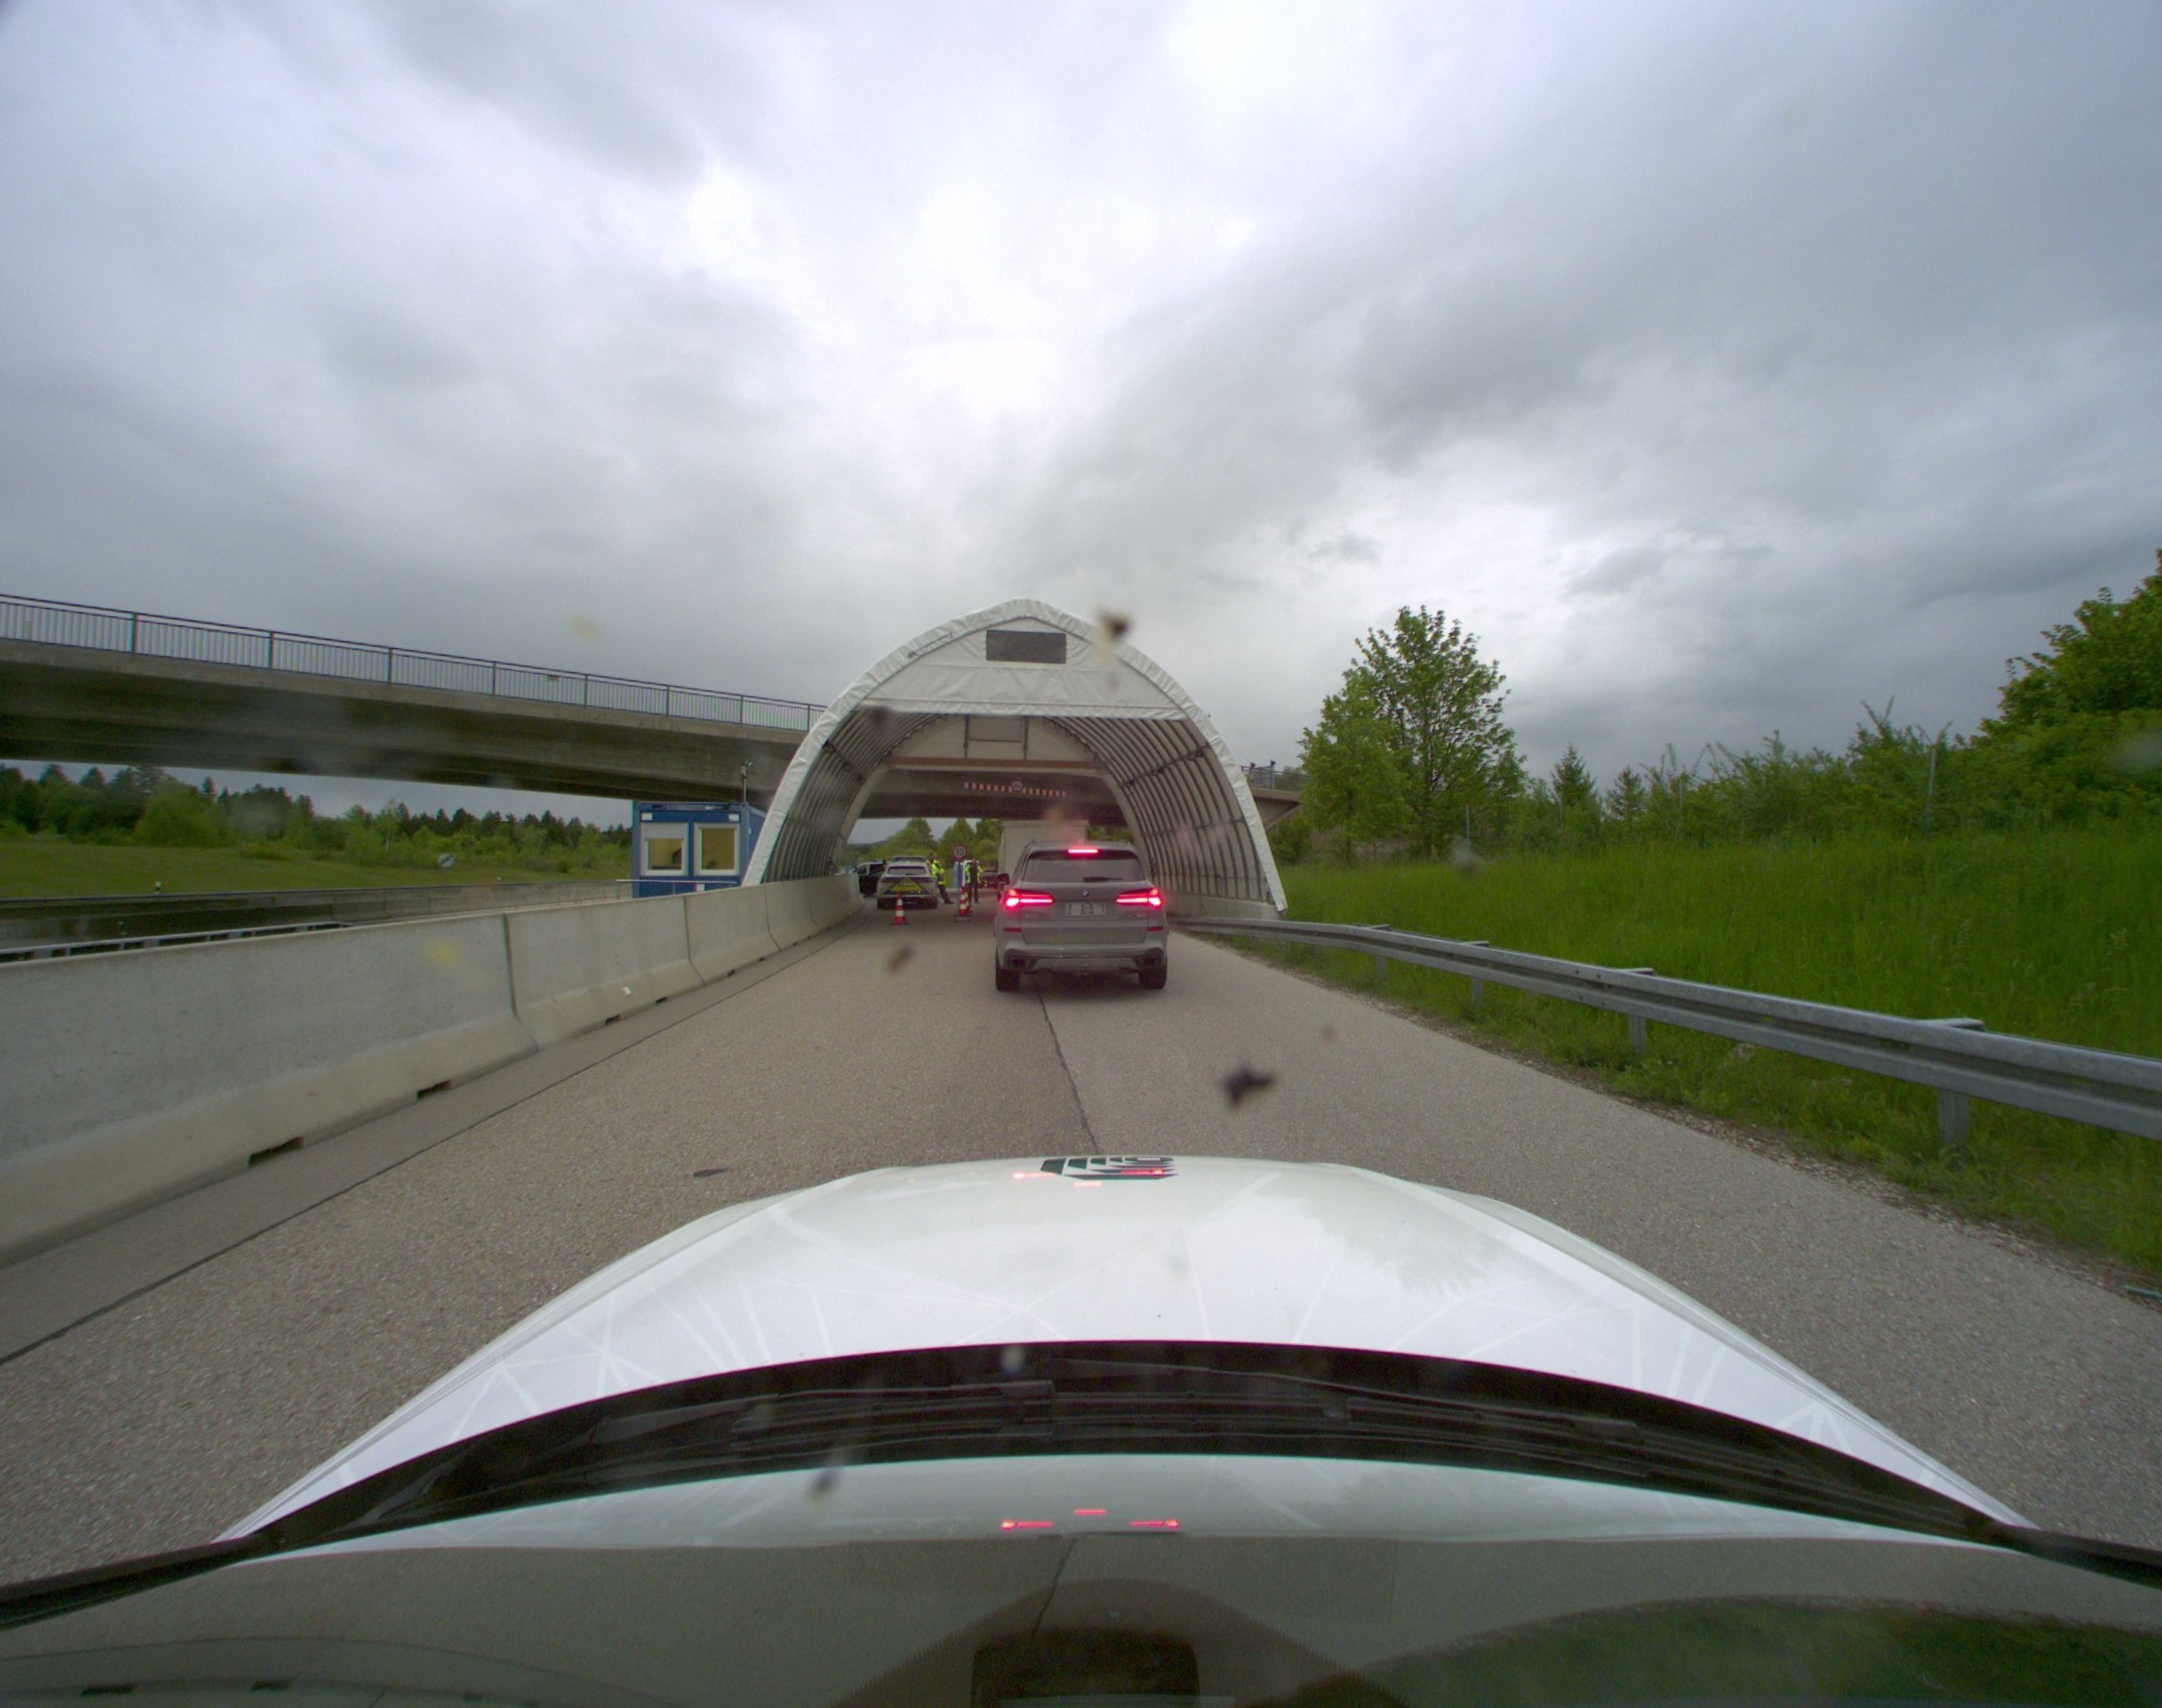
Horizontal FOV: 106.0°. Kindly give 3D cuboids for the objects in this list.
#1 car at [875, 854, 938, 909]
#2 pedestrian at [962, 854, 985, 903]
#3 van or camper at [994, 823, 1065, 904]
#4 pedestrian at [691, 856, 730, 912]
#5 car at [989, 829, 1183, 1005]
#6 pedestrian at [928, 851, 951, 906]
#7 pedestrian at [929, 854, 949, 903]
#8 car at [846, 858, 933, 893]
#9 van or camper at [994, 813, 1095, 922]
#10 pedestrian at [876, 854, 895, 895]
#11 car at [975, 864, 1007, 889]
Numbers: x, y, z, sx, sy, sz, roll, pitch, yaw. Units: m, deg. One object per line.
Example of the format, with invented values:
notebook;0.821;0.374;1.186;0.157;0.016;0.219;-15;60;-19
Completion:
car;-5.783;0.881;27.051;1.879;1.647;3.983;-1;-1;-12
pedestrian;-3.933;0.888;29.863;0.780;1.722;0.754;-1;-1;-10
van or camper;-1.914;0.332;28.595;2.102;2.519;5.536;-1;-1;-7
pedestrian;-9.251;0.739;20.327;0.606;1.373;0.629;-2;-1;10
car;-0.156;0.673;10.498;1.992;1.765;3.990;-1;-1;-7
pedestrian;-5.087;0.876;29.222;0.750;1.919;0.759;-1;-1;-13
pedestrian;-5.268;0.904;30.190;0.607;1.754;0.665;-1;-1;-4
car;-11.582;1.302;49.385;4.777;2.014;1.845;-1;-1;9
van or camper;-1.208;0.356;22.667;2.228;2.552;6.593;-1;-1;-7
pedestrian;-9.655;1.022;40.231;0.698;2.014;0.692;-1;-1;1
car;-6.518;1.607;58.883;1.994;1.722;3.882;-1;-1;-11
